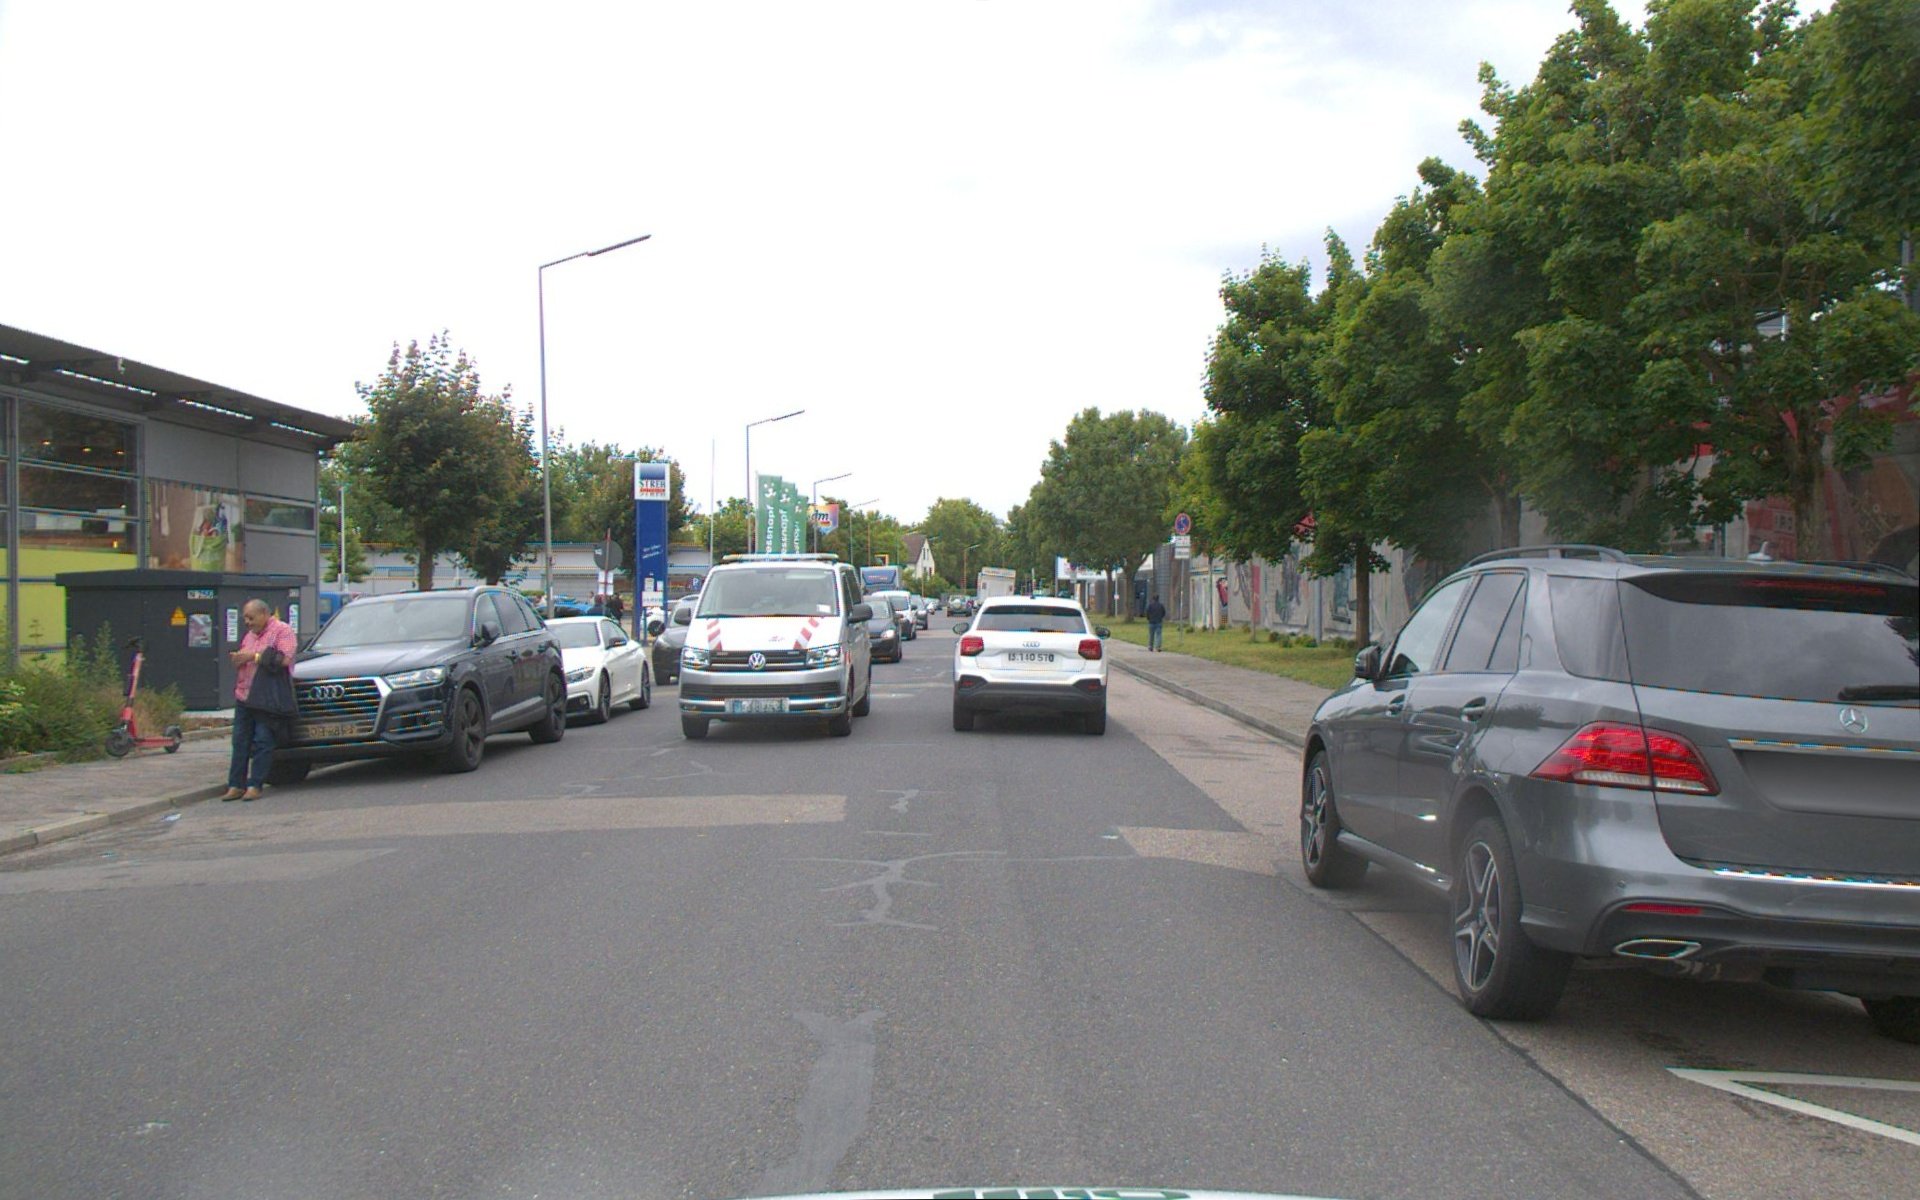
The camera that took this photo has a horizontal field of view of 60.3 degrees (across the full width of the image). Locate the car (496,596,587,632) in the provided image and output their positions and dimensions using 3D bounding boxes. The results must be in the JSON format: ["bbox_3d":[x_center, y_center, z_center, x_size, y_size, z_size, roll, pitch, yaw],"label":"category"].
[{"bbox_3d":[-20.071,0.656,79.411,3.905,1.698,1.876,0,0,0],"label":"car"}]

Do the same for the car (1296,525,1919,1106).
[{"bbox_3d":[2.908,0.692,7.431,1.869,1.771,4.480,3,0,1],"label":"car"}]

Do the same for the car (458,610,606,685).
[{"bbox_3d":[-12.133,1.328,47.114,3.855,2.049,1.758,0,0,-7],"label":"car"}]

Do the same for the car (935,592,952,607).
[{"bbox_3d":[-1.994,-0.048,197.541,1.740,1.684,3.744,1,-1,-6],"label":"car"}]

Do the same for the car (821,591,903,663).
[{"bbox_3d":[-2.321,0.622,39.980,1.693,1.599,3.946,-1,0,0],"label":"car"}]

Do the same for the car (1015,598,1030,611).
[{"bbox_3d":[8.344,0.571,220.999,1.848,1.713,4.254,2,0,1],"label":"car"}]

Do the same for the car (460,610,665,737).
[{"bbox_3d":[-5.325,0.924,22.762,1.664,1.391,4.517,-5,0,-1],"label":"car"}]

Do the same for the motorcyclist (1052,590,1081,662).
[{"bbox_3d":[2.364,0.581,36.834,0.612,1.581,0.604,0,0,2],"label":"motorcyclist"}]

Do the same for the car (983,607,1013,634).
[{"bbox_3d":[2.675,1.429,116.748,1.953,1.837,3.999,1,-1,-1],"label":"car"}]

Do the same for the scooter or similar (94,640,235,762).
[{"bbox_3d":[-8.415,1.041,17.565,0.648,1.177,1.642,-1,0,2],"label":"scooter or similar"}]

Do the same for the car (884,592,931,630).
[{"bbox_3d":[-2.500,0.520,79.711,1.893,1.713,4.496,-1,0,2],"label":"car"}]

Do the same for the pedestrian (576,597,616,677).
[{"bbox_3d":[-8.050,0.810,36.615,0.760,1.745,0.696,0,0,-4],"label":"pedestrian"}]

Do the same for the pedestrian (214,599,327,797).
[{"bbox_3d":[-5.941,0.827,14.271,0.659,1.650,0.653,-1,0,0],"label":"pedestrian"}]

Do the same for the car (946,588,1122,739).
[{"bbox_3d":[0.823,0.689,20.058,1.848,1.558,4.254,2,0,1],"label":"car"}]

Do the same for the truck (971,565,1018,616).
[{"bbox_3d":[2.584,-0.670,126.081,3.071,3.647,10.047,1,-1,-1],"label":"truck"}]

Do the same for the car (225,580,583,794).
[{"bbox_3d":[-5.338,0.744,16.631,1.827,1.721,4.729,-4,0,1],"label":"car"}]

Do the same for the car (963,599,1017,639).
[{"bbox_3d":[1.092,0.681,61.664,1.898,1.391,3.999,-1,0,-1],"label":"car"}]

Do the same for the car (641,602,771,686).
[{"bbox_3d":[-5.034,0.829,33.324,1.906,1.553,4.403,-1,0,0],"label":"car"}]

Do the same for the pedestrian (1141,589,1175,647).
[{"bbox_3d":[5.770,0.531,48.221,0.900,1.663,0.853,1,-1,2],"label":"pedestrian"}]

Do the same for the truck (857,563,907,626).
[{"bbox_3d":[-5.222,-0.373,112.106,2.912,4.025,6.405,-2,0,0],"label":"truck"}]

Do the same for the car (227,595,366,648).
[{"bbox_3d":[-22.240,0.702,55.539,3.905,1.698,1.876,0,0,0],"label":"car"}]

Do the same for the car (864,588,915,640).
[{"bbox_3d":[-2.572,0.481,60.903,1.655,1.791,4.134,-2,0,0],"label":"car"}]

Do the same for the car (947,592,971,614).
[{"bbox_3d":[-0.100,0.225,134.045,1.832,1.691,3.999,-1,0,-2],"label":"car"}]

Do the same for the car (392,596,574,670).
[{"bbox_3d":[-11.428,0.774,39.808,3.794,1.649,1.928,1,0,0],"label":"car"}]

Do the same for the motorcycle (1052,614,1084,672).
[{"bbox_3d":[2.355,0.930,36.354,0.627,1.199,2.114,0,0,2],"label":"motorcycle"}]

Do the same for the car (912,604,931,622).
[{"bbox_3d":[-3.486,1.146,149.704,1.566,1.555,3.528,-2,0,0],"label":"car"}]

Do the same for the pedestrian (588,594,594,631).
[{"bbox_3d":[-17.282,0.578,77.439,0.258,1.760,0.421,0,0,-12],"label":"pedestrian"}]

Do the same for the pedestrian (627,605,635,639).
[{"bbox_3d":[-15.367,1.011,77.245,0.324,1.597,0.502,0,0,-13],"label":"pedestrian"}]

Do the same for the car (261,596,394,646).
[{"bbox_3d":[-22.182,0.725,58.102,3.905,1.698,1.876,0,0,0],"label":"car"}]

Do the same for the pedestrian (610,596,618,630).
[{"bbox_3d":[-16.003,0.602,76.560,0.353,1.597,0.502,0,0,-14],"label":"pedestrian"}]

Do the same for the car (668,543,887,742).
[{"bbox_3d":[-2.012,0.464,19.707,1.887,2.049,4.956,-1,-1,2],"label":"car"}]
